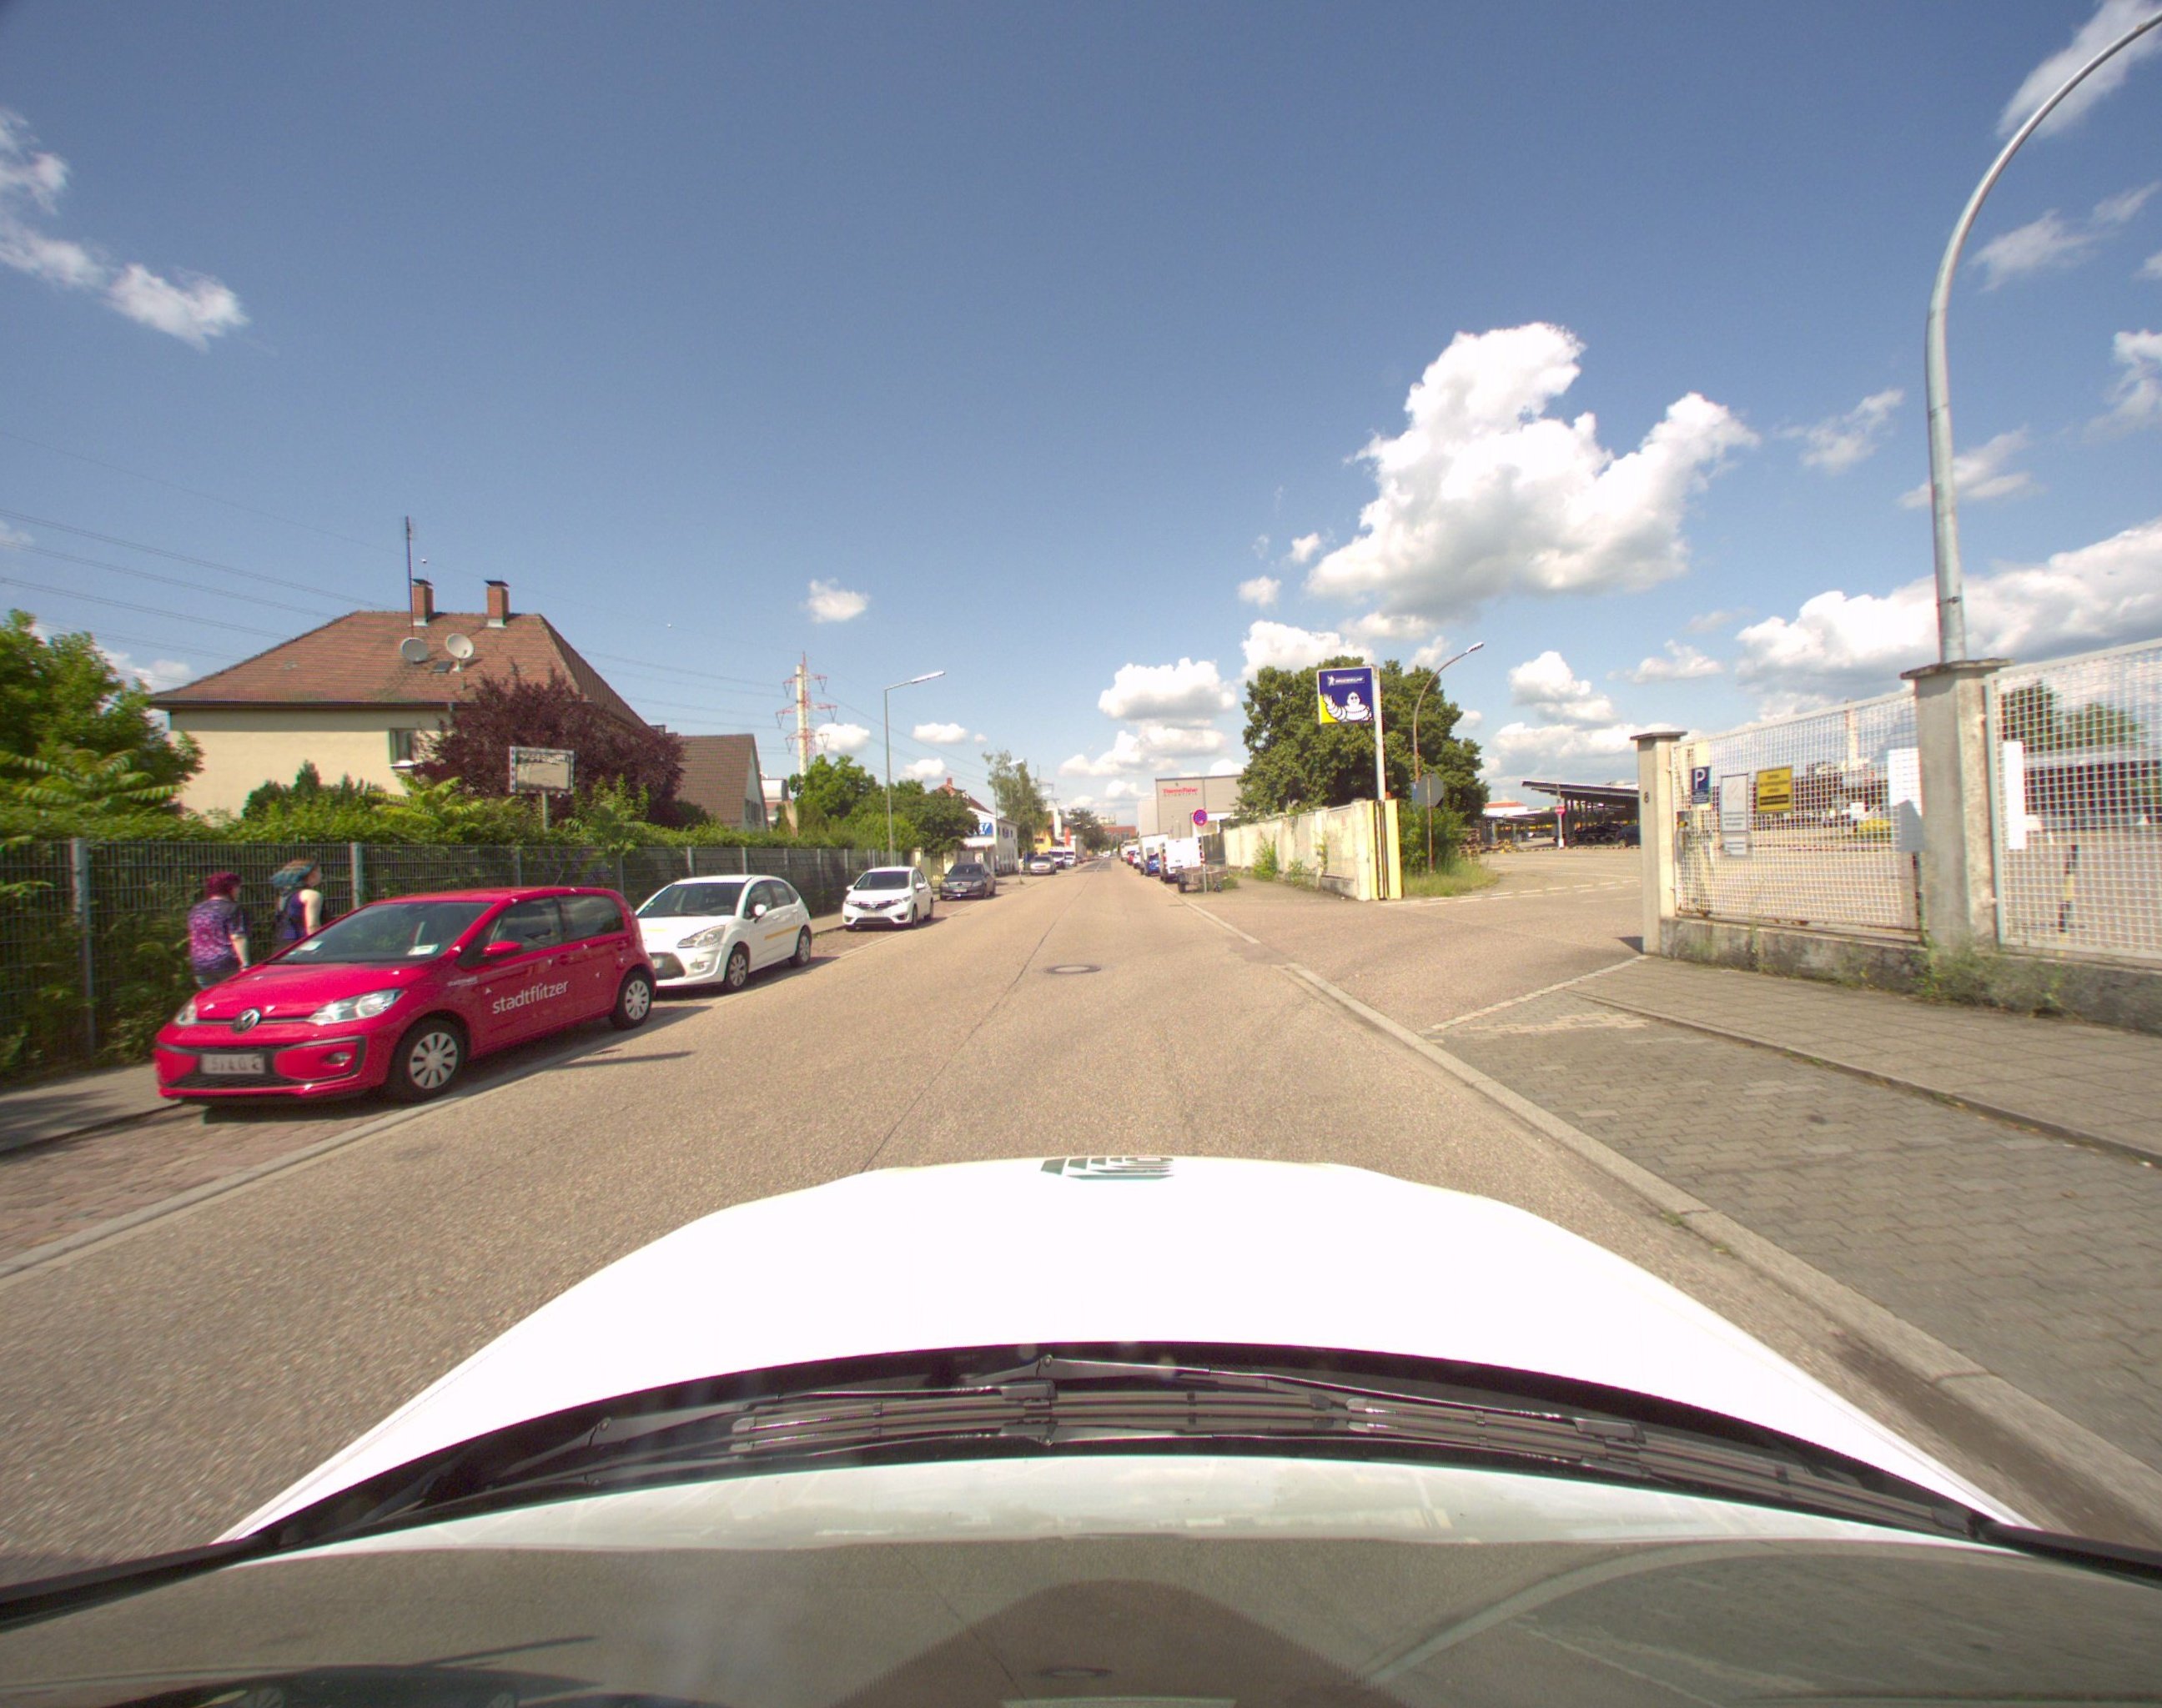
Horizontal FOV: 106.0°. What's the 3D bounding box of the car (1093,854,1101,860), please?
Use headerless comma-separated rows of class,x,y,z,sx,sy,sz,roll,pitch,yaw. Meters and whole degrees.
car,4.518,0.798,230.067,1.913,1.794,4.005,-1,-1,4

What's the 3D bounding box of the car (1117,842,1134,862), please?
car,8.246,-0.338,152.172,2.381,3.362,6.642,-6,-1,-1

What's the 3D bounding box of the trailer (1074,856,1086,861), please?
trailer,-0.184,0.905,170.083,2.353,0.893,5.571,-1,-1,2

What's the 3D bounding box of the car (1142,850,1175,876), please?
car,4.886,0.551,51.974,1.684,1.460,4.071,-5,-1,1

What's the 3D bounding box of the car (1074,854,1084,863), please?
car,-0.362,0.842,151.217,1.755,1.447,4.744,-1,-1,3

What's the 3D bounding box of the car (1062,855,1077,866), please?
car,-1.581,0.927,112.442,1.788,1.397,4.505,-1,-1,3

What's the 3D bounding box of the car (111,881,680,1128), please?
car,-5.338,1.029,7.105,1.659,1.467,3.746,-1,-1,3

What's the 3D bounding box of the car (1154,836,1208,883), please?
car,4.766,0.247,39.581,1.986,2.013,5.652,-3,0,2

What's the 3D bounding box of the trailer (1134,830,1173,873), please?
trailer,5.167,-0.154,58.694,2.196,2.736,6.223,-6,-1,1

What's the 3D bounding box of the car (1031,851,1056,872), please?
car,-3.176,0.629,69.998,1.784,1.719,4.753,0,0,2

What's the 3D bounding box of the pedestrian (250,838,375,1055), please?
pedestrian,-7.097,0.822,7.549,0.449,1.894,0.678,-3,-1,2

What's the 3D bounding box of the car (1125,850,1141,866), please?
car,6.606,0.544,103.682,2.045,1.903,5.151,-2,0,3

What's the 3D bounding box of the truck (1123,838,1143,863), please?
truck,7.763,-0.502,121.183,2.449,3.293,6.822,-7,-1,3

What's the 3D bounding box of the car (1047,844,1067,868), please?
car,-2.653,0.241,92.711,2.023,2.558,6.656,-1,-1,0

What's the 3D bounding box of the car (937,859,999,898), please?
car,-4.470,0.934,32.781,1.799,1.418,4.497,-1,0,1

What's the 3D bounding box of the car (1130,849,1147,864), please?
car,6.798,0.285,96.637,1.698,1.624,4.094,-6,-1,1

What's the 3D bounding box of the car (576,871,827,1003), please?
car,-5.216,1.044,11.858,1.639,1.477,4.030,-3,-1,1

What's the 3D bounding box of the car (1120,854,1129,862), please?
car,8.865,0.810,164.799,1.761,1.612,3.876,-3,-1,3

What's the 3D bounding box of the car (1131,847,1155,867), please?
car,5.858,0.297,77.137,1.928,1.693,4.682,-5,0,2

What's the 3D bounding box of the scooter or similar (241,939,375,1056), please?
scooter or similar,-6.767,1.236,7.160,0.469,0.887,0.710,-3,-1,2

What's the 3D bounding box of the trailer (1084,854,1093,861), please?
trailer,1.846,0.735,191.074,1.986,1.556,4.255,-2,0,2

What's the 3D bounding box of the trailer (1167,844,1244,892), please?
trailer,4.361,0.497,29.236,1.745,1.417,4.544,-6,-1,-3

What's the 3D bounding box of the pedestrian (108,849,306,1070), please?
pedestrian,-7.680,0.881,7.207,0.705,1.801,0.916,-3,-1,2

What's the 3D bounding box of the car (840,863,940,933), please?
car,-4.820,1.043,21.103,1.615,1.522,4.173,-3,0,-1
